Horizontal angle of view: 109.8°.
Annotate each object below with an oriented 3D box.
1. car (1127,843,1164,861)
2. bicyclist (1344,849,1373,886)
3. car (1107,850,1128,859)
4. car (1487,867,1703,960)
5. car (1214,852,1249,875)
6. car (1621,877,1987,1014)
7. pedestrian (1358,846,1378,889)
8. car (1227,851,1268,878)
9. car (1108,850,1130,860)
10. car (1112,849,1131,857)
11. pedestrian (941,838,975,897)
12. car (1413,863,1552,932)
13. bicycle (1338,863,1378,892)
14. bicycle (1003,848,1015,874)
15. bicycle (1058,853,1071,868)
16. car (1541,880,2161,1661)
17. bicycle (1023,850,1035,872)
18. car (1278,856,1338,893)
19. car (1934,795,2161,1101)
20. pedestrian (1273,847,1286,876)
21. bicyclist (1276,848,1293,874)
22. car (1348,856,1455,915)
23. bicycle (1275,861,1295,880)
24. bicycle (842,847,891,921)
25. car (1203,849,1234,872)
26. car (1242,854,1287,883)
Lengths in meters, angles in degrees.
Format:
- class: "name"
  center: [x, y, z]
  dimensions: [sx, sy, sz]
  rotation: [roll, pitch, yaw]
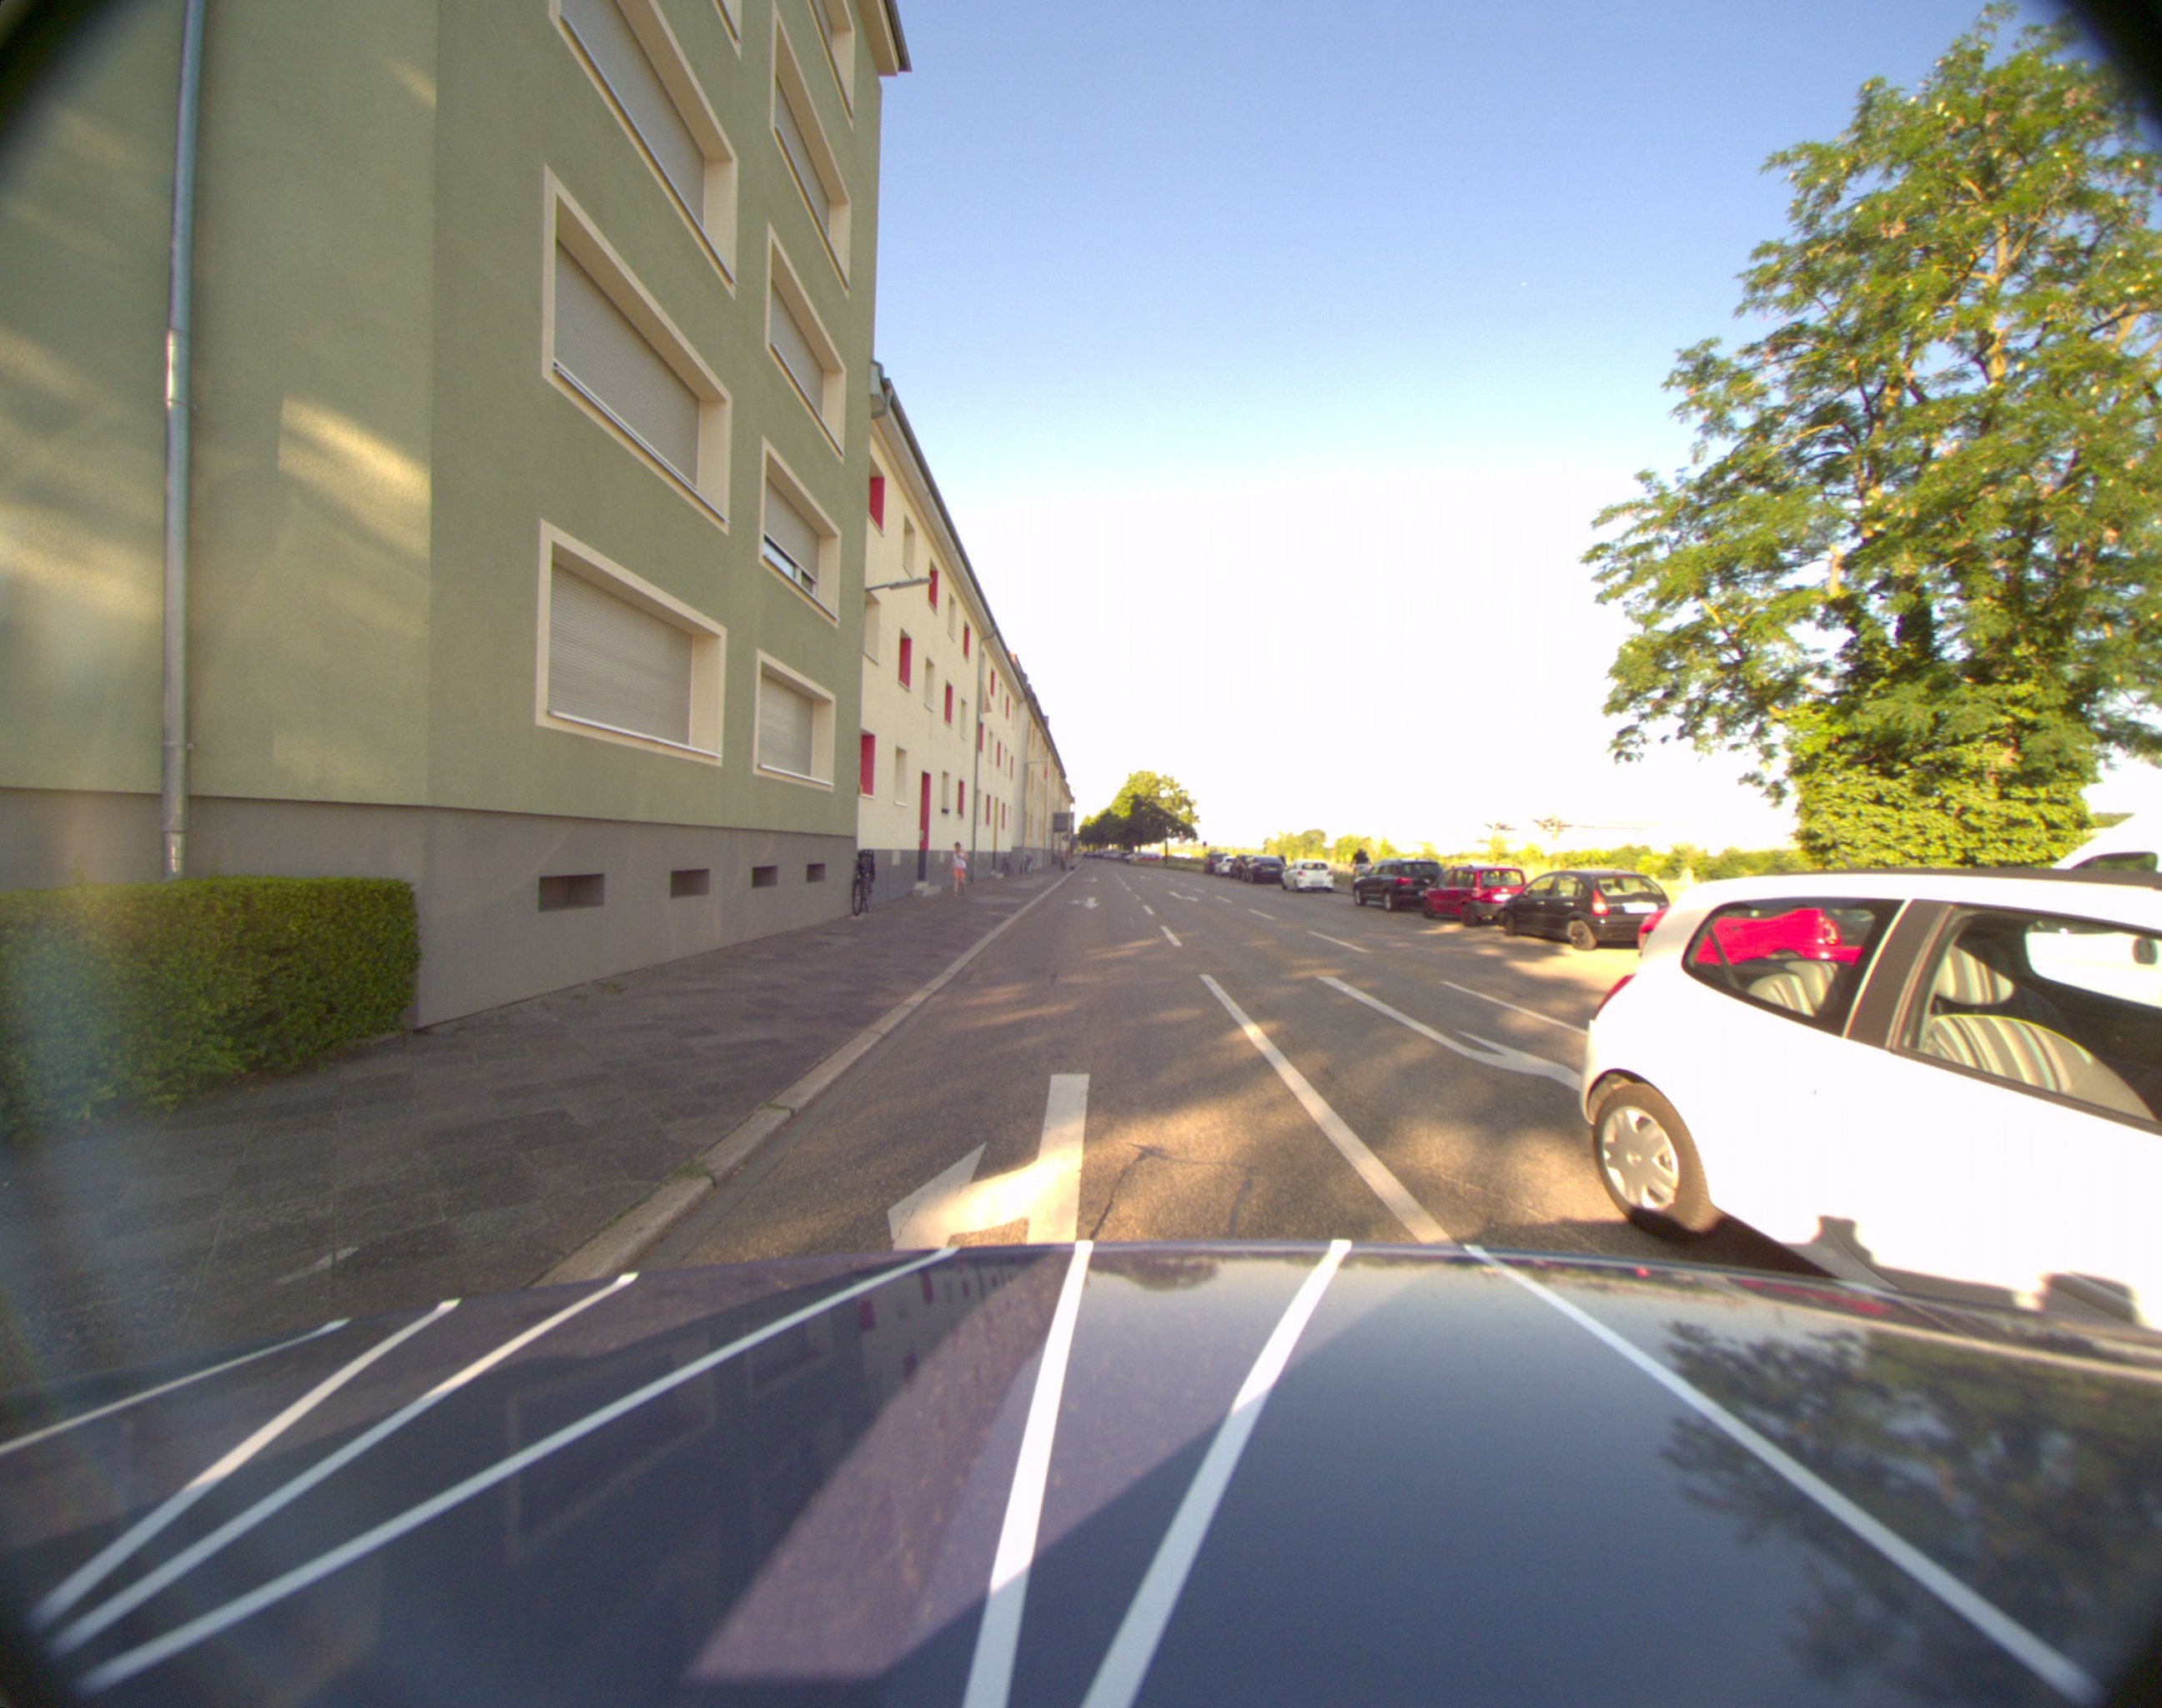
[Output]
- class: "car"
  center: [9.519, -0.352, 112.245]
  dimensions: [5.322, 2.398, 2.266]
  rotation: [-2, 1, 0]
- class: "bicyclist"
  center: [12.590, 0.600, 34.523]
  dimensions: [0.866, 1.587, 1.146]
  rotation: [2, 1, 3]
- class: "car"
  center: [7.418, 0.122, 155.319]
  dimensions: [3.997, 1.708, 2.000]
  rotation: [2, 1, -1]
- class: "car"
  center: [10.164, 1.091, 15.415]
  dimensions: [1.745, 1.521, 3.816]
  rotation: [2, 1, 0]
- class: "car"
  center: [10.850, 0.676, 55.099]
  dimensions: [1.823, 1.565, 4.220]
  rotation: [2, 1, 2]
- class: "car"
  center: [10.062, 1.166, 11.046]
  dimensions: [1.745, 1.478, 3.694]
  rotation: [2, 1, 0]
- class: "pedestrian"
  center: [13.549, 0.633, 35.903]
  dimensions: [0.615, 2.002, 0.730]
  rotation: [2, 1, -1]
- class: "car"
  center: [10.843, 0.653, 49.707]
  dimensions: [1.823, 1.628, 4.220]
  rotation: [2, 1, 2]
- class: "car"
  center: [7.485, 0.184, 149.736]
  dimensions: [3.997, 1.708, 2.000]
  rotation: [2, 1, -1]
- class: "car"
  center: [9.194, -0.302, 173.167]
  dimensions: [3.997, 1.708, 2.000]
  rotation: [2, 1, -1]
- class: "pedestrian"
  center: [-3.665, 0.396, 22.748]
  dimensions: [0.787, 1.697, 0.950]
  rotation: [3, 1, 1]
- class: "car"
  center: [10.257, 1.047, 19.732]
  dimensions: [1.664, 1.521, 3.579]
  rotation: [2, 1, 0]
- class: "bicycle"
  center: [12.570, 1.047, 34.563]
  dimensions: [0.939, 1.182, 2.482]
  rotation: [2, 1, 2]
- class: "bicycle"
  center: [-3.937, 0.357, 41.378]
  dimensions: [0.517, 1.404, 1.873]
  rotation: [2, 1, -3]
- class: "bicycle"
  center: [-1.252, 0.460, 56.845]
  dimensions: [0.651, 1.091, 2.201]
  rotation: [1, 1, -8]
- class: "car"
  center: [3.007, 0.887, 1.613]
  dimensions: [1.705, 1.460, 3.775]
  rotation: [2, 1, -1]
- class: "bicycle"
  center: [-3.167, 0.406, 46.310]
  dimensions: [0.517, 1.318, 2.210]
  rotation: [2, 1, 2]
- class: "car"
  center: [10.406, 0.898, 35.073]
  dimensions: [1.706, 1.517, 3.583]
  rotation: [2, 1, 1]
- class: "car"
  center: [9.682, 0.738, 4.823]
  dimensions: [2.235, 2.422, 5.559]
  rotation: [-1, 1, -1]
- class: "pedestrian"
  center: [13.896, 0.546, 53.246]
  dimensions: [0.706, 2.002, 0.710]
  rotation: [2, 1, 2]
- class: "bicyclist"
  center: [12.729, 0.442, 47.548]
  dimensions: [0.768, 1.587, 1.146]
  rotation: [2, 1, 2]
- class: "car"
  center: [10.136, 0.932, 24.352]
  dimensions: [1.664, 1.649, 4.005]
  rotation: [2, 1, 0]
- class: "bicycle"
  center: [12.728, 1.030, 47.509]
  dimensions: [0.748, 1.084, 2.163]
  rotation: [2, 1, 3]
- class: "bicycle"
  center: [-4.315, 0.562, 15.374]
  dimensions: [0.517, 1.404, 1.873]
  rotation: [2, 1, -3]
- class: "car"
  center: [10.999, 0.490, 60.984]
  dimensions: [1.890, 1.765, 4.220]
  rotation: [2, 1, 2]
- class: "car"
  center: [10.567, 0.786, 44.006]
  dimensions: [1.823, 1.517, 4.291]
  rotation: [2, 1, 5]
